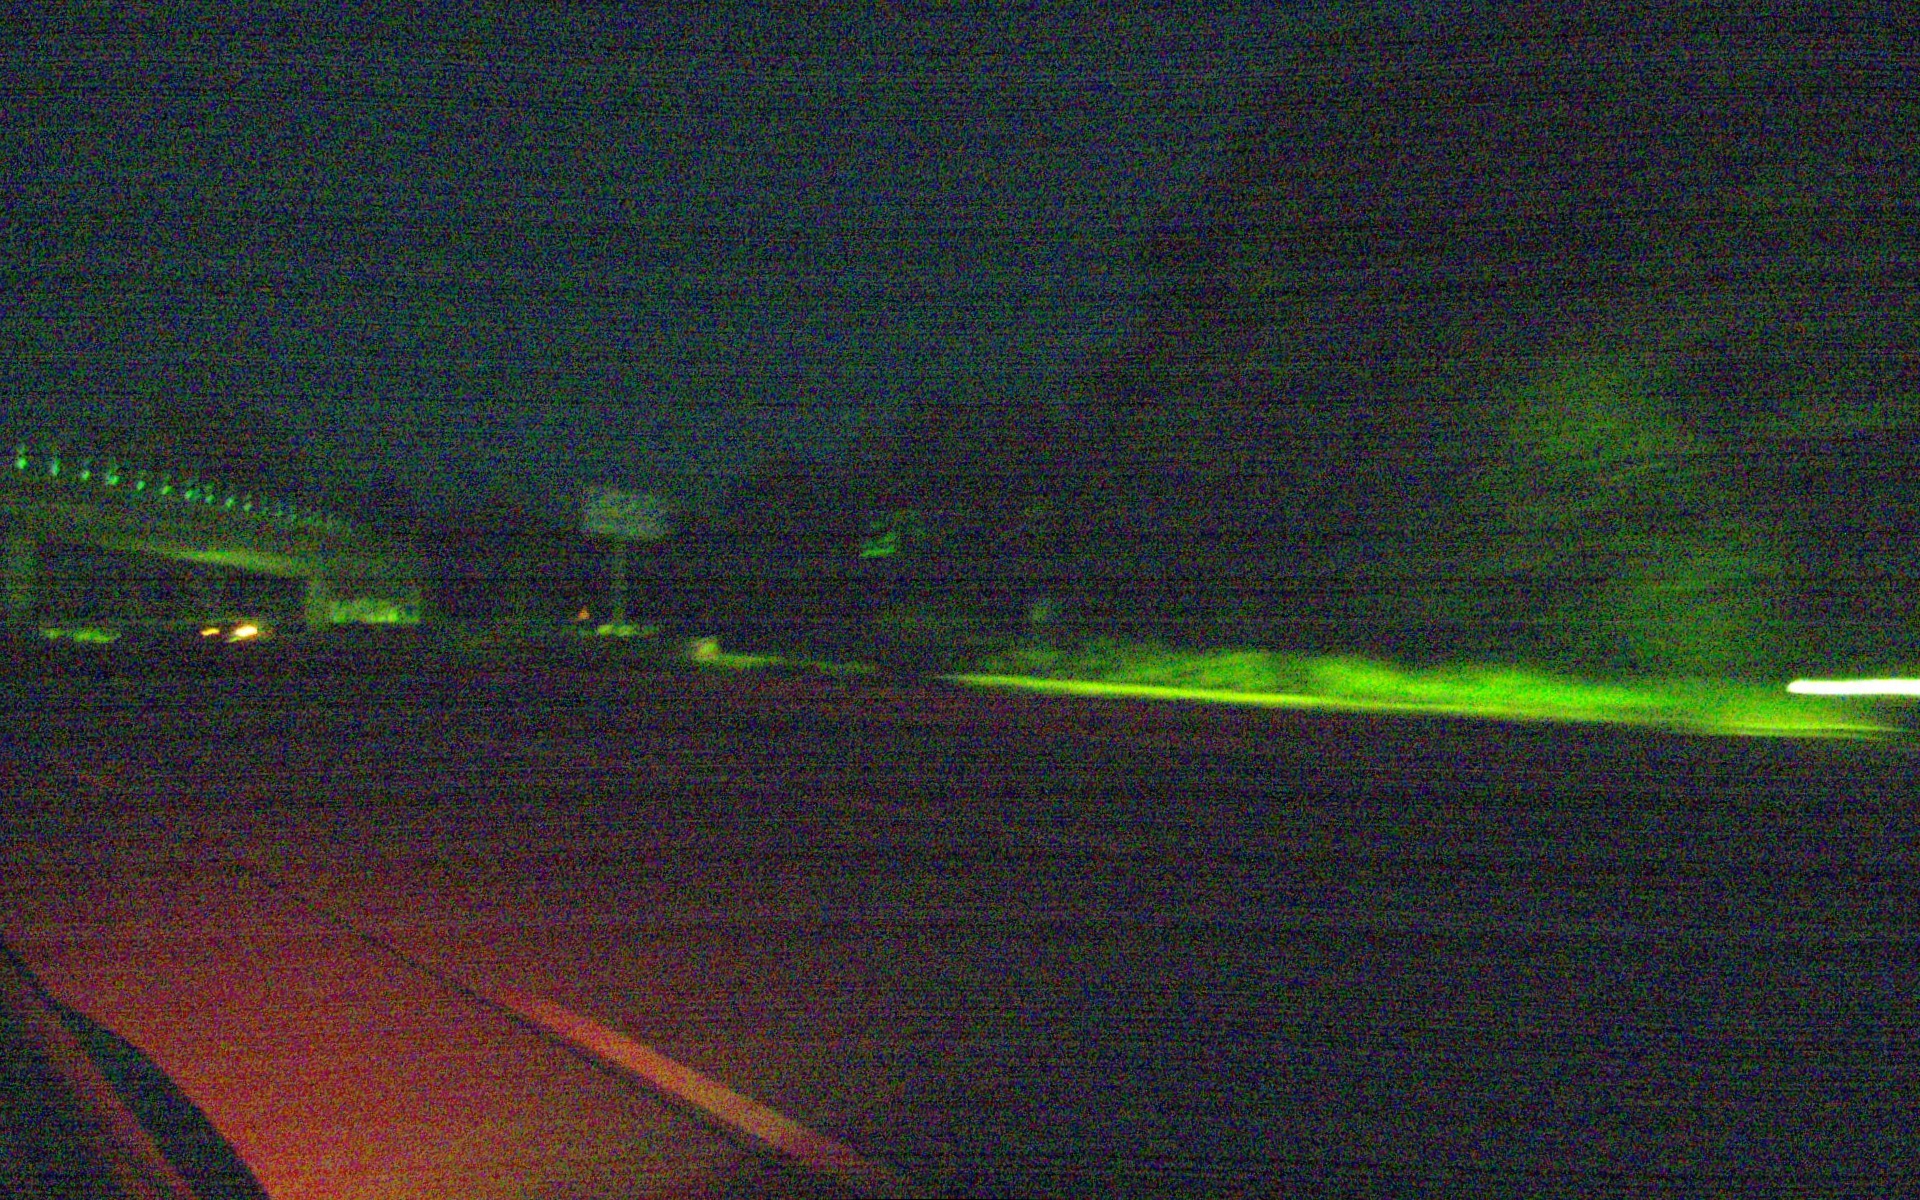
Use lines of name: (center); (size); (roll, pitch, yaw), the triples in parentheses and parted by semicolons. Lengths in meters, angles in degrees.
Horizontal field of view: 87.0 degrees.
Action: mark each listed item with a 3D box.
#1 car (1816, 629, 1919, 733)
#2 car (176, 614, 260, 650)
car: (14.885, 1.146, 13.986); (1.800, 1.453, 4.479); (3, -3, -43)
car: (-35.973, 1.506, 49.051); (4.525, 1.670, 1.976); (-1, -1, 36)
